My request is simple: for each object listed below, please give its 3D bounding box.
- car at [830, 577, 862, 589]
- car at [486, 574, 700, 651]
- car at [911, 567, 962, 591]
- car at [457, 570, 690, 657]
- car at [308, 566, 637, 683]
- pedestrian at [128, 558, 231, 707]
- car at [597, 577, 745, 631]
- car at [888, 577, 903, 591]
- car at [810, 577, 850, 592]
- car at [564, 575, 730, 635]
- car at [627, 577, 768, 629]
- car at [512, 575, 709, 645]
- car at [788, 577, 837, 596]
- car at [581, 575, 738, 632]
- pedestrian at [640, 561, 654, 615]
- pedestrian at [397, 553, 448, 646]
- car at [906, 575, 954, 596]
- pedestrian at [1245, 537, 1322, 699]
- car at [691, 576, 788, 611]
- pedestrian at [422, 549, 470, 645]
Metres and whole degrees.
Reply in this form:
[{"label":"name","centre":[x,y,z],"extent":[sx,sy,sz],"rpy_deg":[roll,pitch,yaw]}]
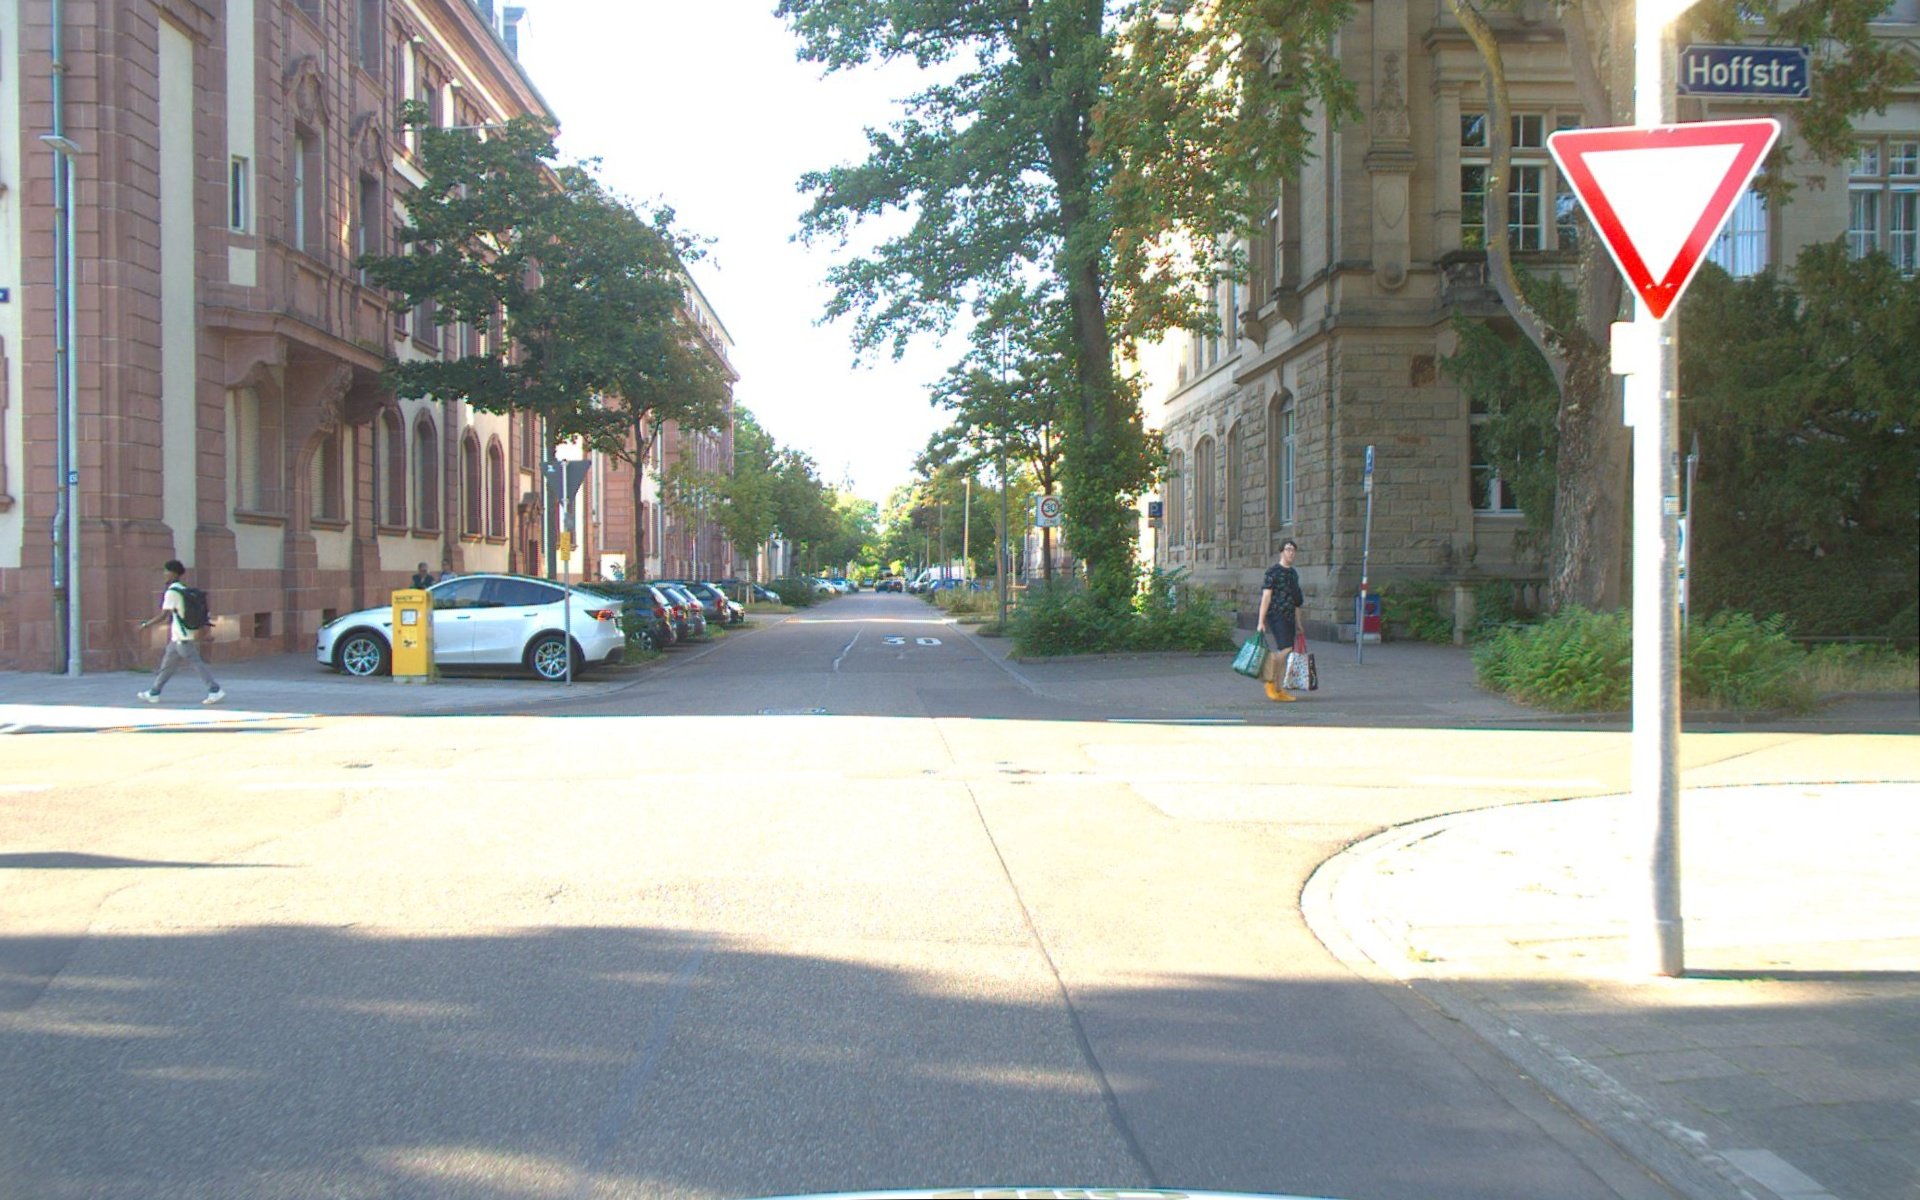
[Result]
[{"label":"car","centre":[-14.682,-2.164,213.142],"extent":[4.007,1.520,1.932],"rpy_deg":[0,1,-2]},{"label":"car","centre":[-7.910,0.259,36.002],"extent":[4.294,1.522,1.965],"rpy_deg":[1,1,-6]},{"label":"car","centre":[-2.150,-1.932,152.156],"extent":[4.610,2.140,1.999],"rpy_deg":[0,1,-2]},{"label":"car","centre":[-7.679,0.248,33.221],"extent":[4.294,1.612,1.965],"rpy_deg":[1,1,-6]},{"label":"car","centre":[-7.557,0.369,26.059],"extent":[4.615,1.617,1.965],"rpy_deg":[2,1,-6]},{"label":"pedestrian","centre":[-9.340,0.381,19.815],"extent":[0.979,1.749,0.534],"rpy_deg":[0,0,-2]},{"label":"car","centre":[-8.796,0.111,50.664],"extent":[4.294,1.522,1.965],"rpy_deg":[1,1,-6]},{"label":"car","centre":[-8.215,-1.996,210.778],"extent":[1.710,1.735,3.669],"rpy_deg":[0,1,-6]},{"label":"car","centre":[-13.407,-1.592,170.827],"extent":[4.007,1.520,1.932],"rpy_deg":[0,1,-2]},{"label":"car","centre":[-8.555,0.121,45.577],"extent":[4.294,1.522,1.965],"rpy_deg":[1,1,-6]},{"label":"car","centre":[-8.346,0.081,52.892],"extent":[4.294,1.522,1.965],"rpy_deg":[1,1,-6]},{"label":"car","centre":[-8.155,0.221,38.891],"extent":[4.294,1.522,1.965],"rpy_deg":[1,1,-6]},{"label":"car","centre":[-12.327,-1.148,138.388],"extent":[4.007,1.520,1.932],"rpy_deg":[0,1,-2]},{"label":"car","centre":[-8.703,0.083,48.170],"extent":[4.294,1.522,1.965],"rpy_deg":[1,1,-6]},{"label":"pedestrian","centre":[-11.822,-0.447,62.429],"extent":[0.426,2.049,0.463],"rpy_deg":[0,0,-2]},{"label":"pedestrian","centre":[-11.036,-0.024,33.982],"extent":[0.771,1.872,0.717],"rpy_deg":[1,1,0]},{"label":"car","centre":[-2.496,-1.190,136.649],"extent":[3.907,1.646,1.788],"rpy_deg":[0,1,-3]},{"label":"pedestrian","centre":[3.981,0.218,20.360],"extent":[0.711,1.952,0.609],"rpy_deg":[0,0,-26]},{"label":"car","centre":[-10.258,-0.326,77.058],"extent":[4.291,1.522,1.966],"rpy_deg":[1,1,-3]},{"label":"pedestrian","centre":[-10.228,-0.064,32.916],"extent":[0.709,1.872,0.613],"rpy_deg":[2,1,0]}]
